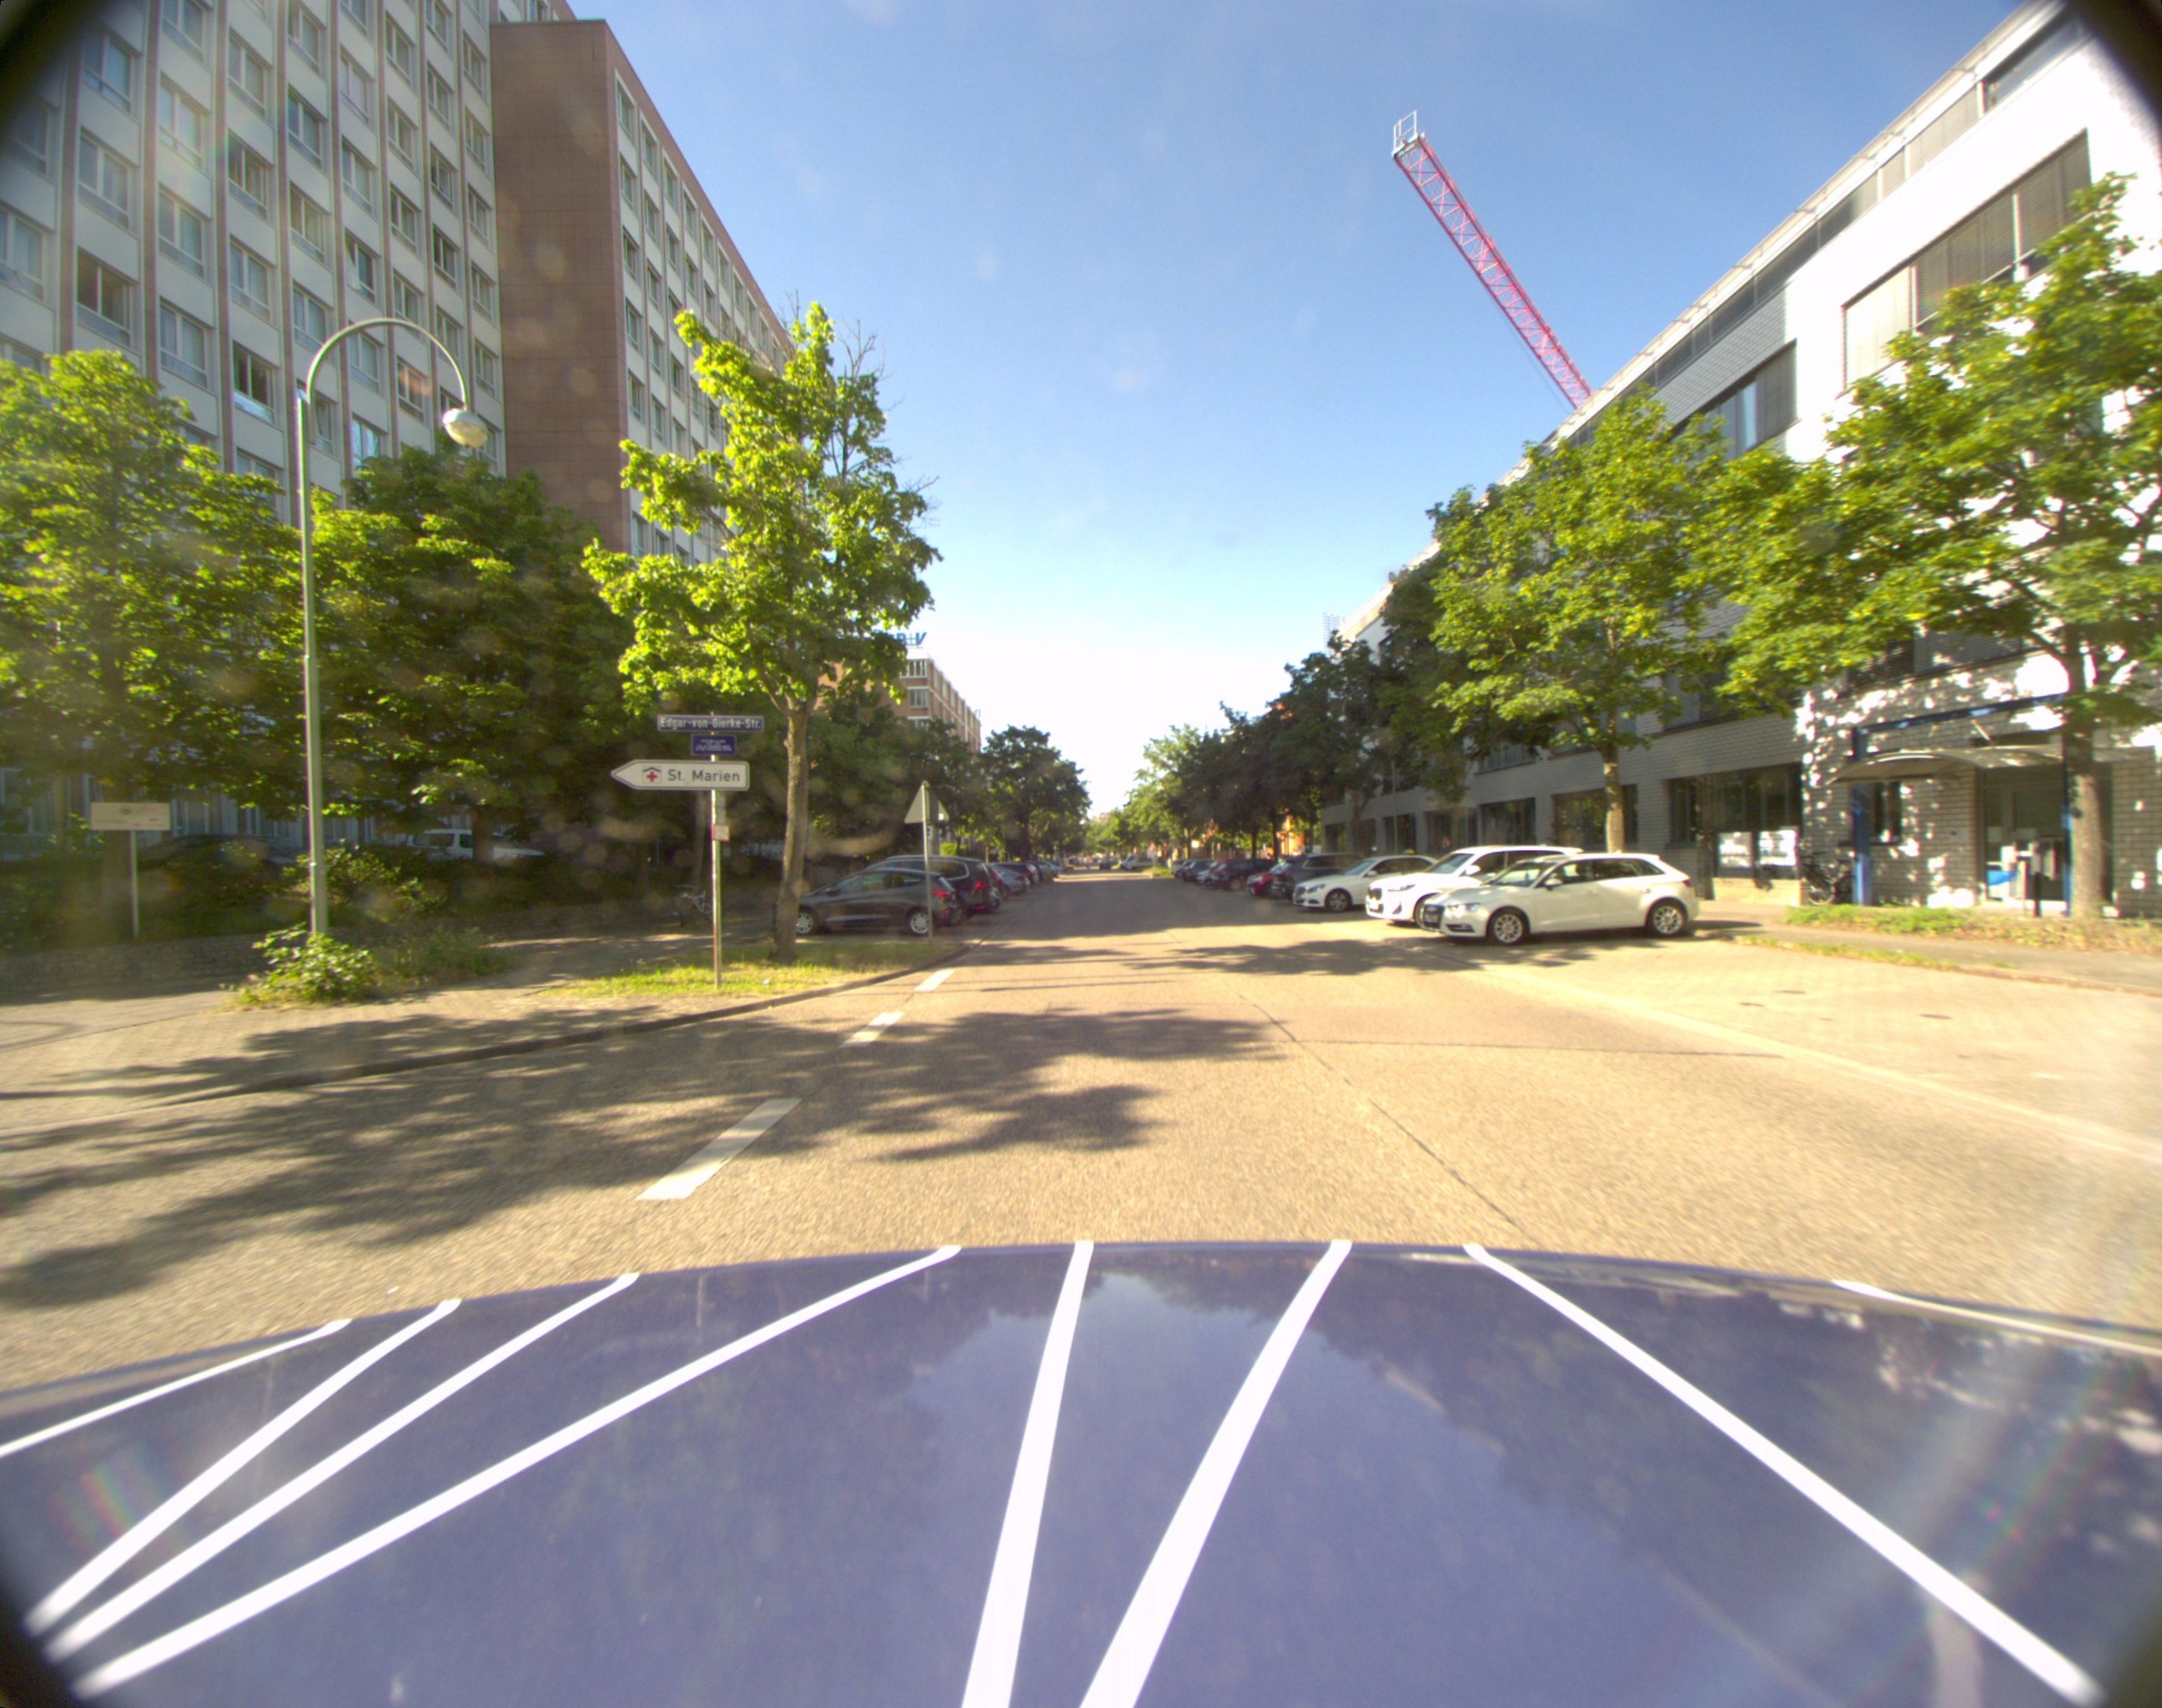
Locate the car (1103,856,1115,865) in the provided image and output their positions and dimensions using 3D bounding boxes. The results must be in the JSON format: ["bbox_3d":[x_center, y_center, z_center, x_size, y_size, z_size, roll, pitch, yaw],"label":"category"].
[{"bbox_3d":[4.436,0.962,120.629,1.766,1.365,4.001,-2,0,3],"label":"car"}]

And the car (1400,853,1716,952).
[{"bbox_3d":[7.997,0.780,13.023,4.269,1.471,1.800,-2,0,0],"label":"car"}]

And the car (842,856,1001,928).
[{"bbox_3d":[-4.025,0.934,19.585,3.680,1.741,1.724,0,1,3],"label":"car"}]

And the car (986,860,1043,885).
[{"bbox_3d":[-3.948,1.101,45.473,3.203,1.471,1.589,0,1,4],"label":"car"}]

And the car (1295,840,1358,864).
[{"bbox_3d":[23.579,-0.235,73.115,5.328,2.086,1.932,-2,1,-2],"label":"car"}]

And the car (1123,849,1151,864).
[{"bbox_3d":[8.384,0.348,114.263,3.997,2.094,2.000,-2,1,-1],"label":"car"}]

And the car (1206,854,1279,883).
[{"bbox_3d":[8.717,0.777,41.293,3.539,1.437,1.657,-2,1,-3],"label":"car"}]

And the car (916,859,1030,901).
[{"bbox_3d":[-4.395,1.047,31.449,4.431,1.544,1.859,-2,0,-1],"label":"car"}]

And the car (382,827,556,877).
[{"bbox_3d":[-22.499,-0.076,28.075,4.729,1.676,1.875,-2,0,-3],"label":"car"}]

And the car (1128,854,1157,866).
[{"bbox_3d":[8.677,0.842,106.960,3.967,1.463,1.953,-2,1,2],"label":"car"}]

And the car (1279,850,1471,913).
[{"bbox_3d":[8.073,0.724,21.110,4.521,1.443,1.940,-3,0,-4],"label":"car"}]

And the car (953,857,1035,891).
[{"bbox_3d":[-4.299,0.986,38.113,3.982,1.540,1.683,-1,0,-3],"label":"car"}]

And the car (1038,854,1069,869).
[{"bbox_3d":[-3.586,0.958,99.933,3.998,1.773,1.952,-2,1,-4],"label":"car"}]

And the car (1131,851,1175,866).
[{"bbox_3d":[8.953,0.571,94.848,5.252,1.616,1.953,-2,1,2],"label":"car"}]

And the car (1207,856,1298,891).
[{"bbox_3d":[8.006,0.900,35.644,3.832,1.405,1.688,-3,-1,-1],"label":"car"}]

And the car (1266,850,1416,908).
[{"bbox_3d":[8.179,0.770,24.211,4.122,1.611,1.803,-2,0,2],"label":"car"}]

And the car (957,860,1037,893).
[{"bbox_3d":[-3.887,1.027,35.646,3.582,1.498,1.724,0,1,-1],"label":"car"}]

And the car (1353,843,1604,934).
[{"bbox_3d":[8.233,0.679,16.044,4.235,1.593,1.952,-3,1,1],"label":"car"}]

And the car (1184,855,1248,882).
[{"bbox_3d":[8.156,0.867,45.996,3.539,1.497,1.646,-2,1,-1],"label":"car"}]

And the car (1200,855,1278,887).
[{"bbox_3d":[7.959,0.830,38.404,3.539,1.428,1.657,-2,1,-1],"label":"car"}]

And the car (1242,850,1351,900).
[{"bbox_3d":[8.029,0.770,28.522,3.580,1.658,1.655,-3,0,3],"label":"car"}]

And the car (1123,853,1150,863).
[{"bbox_3d":[8.707,0.612,119.540,3.997,1.406,1.594,-1,0,-1],"label":"car"}]

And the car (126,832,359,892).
[{"bbox_3d":[-22.999,0.217,20.985,4.237,1.498,1.723,-1,0,-5],"label":"car"}]

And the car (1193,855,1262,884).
[{"bbox_3d":[8.351,0.861,43.489,3.527,1.520,1.657,-2,1,-1],"label":"car"}]

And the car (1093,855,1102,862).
[{"bbox_3d":[3.782,0.992,172.777,1.951,1.617,4.001,-2,0,3],"label":"car"}]

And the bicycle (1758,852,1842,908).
[{"bbox_3d":[15.962,0.546,16.917,0.338,1.168,1.627,-2,1,1],"label":"bicycle"}]

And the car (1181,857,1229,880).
[{"bbox_3d":[8.261,0.973,50.618,2.933,1.435,1.389,-1,1,0],"label":"car"}]

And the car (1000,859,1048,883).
[{"bbox_3d":[-3.866,1.121,51.461,3.053,1.595,1.604,0,0,3],"label":"car"}]

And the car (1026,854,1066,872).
[{"bbox_3d":[-3.768,0.947,81.604,4.164,1.696,1.999,-2,1,-2],"label":"car"}]

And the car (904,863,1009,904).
[{"bbox_3d":[-4.648,1.089,28.779,3.720,1.472,1.724,0,1,-1],"label":"car"}]

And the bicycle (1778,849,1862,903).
[{"bbox_3d":[16.899,0.469,17.409,0.338,1.168,1.627,-2,1,1],"label":"bicycle"}]

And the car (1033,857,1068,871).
[{"bbox_3d":[-3.704,1.165,91.624,3.996,1.463,1.953,-2,1,2],"label":"car"}]

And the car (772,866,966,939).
[{"bbox_3d":[-4.605,1.058,16.912,3.845,1.438,1.592,2,-1,-2],"label":"car"}]

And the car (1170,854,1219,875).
[{"bbox_3d":[8.984,0.844,60.281,3.630,1.499,1.617,-2,1,-1],"label":"car"}]

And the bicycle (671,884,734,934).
[{"bbox_3d":[-8.697,1.242,17.540,0.302,0.987,1.957,-2,0,5],"label":"bicycle"}]

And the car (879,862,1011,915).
[{"bbox_3d":[-4.155,1.043,23.704,3.881,1.556,1.808,0,1,-4],"label":"car"}]
